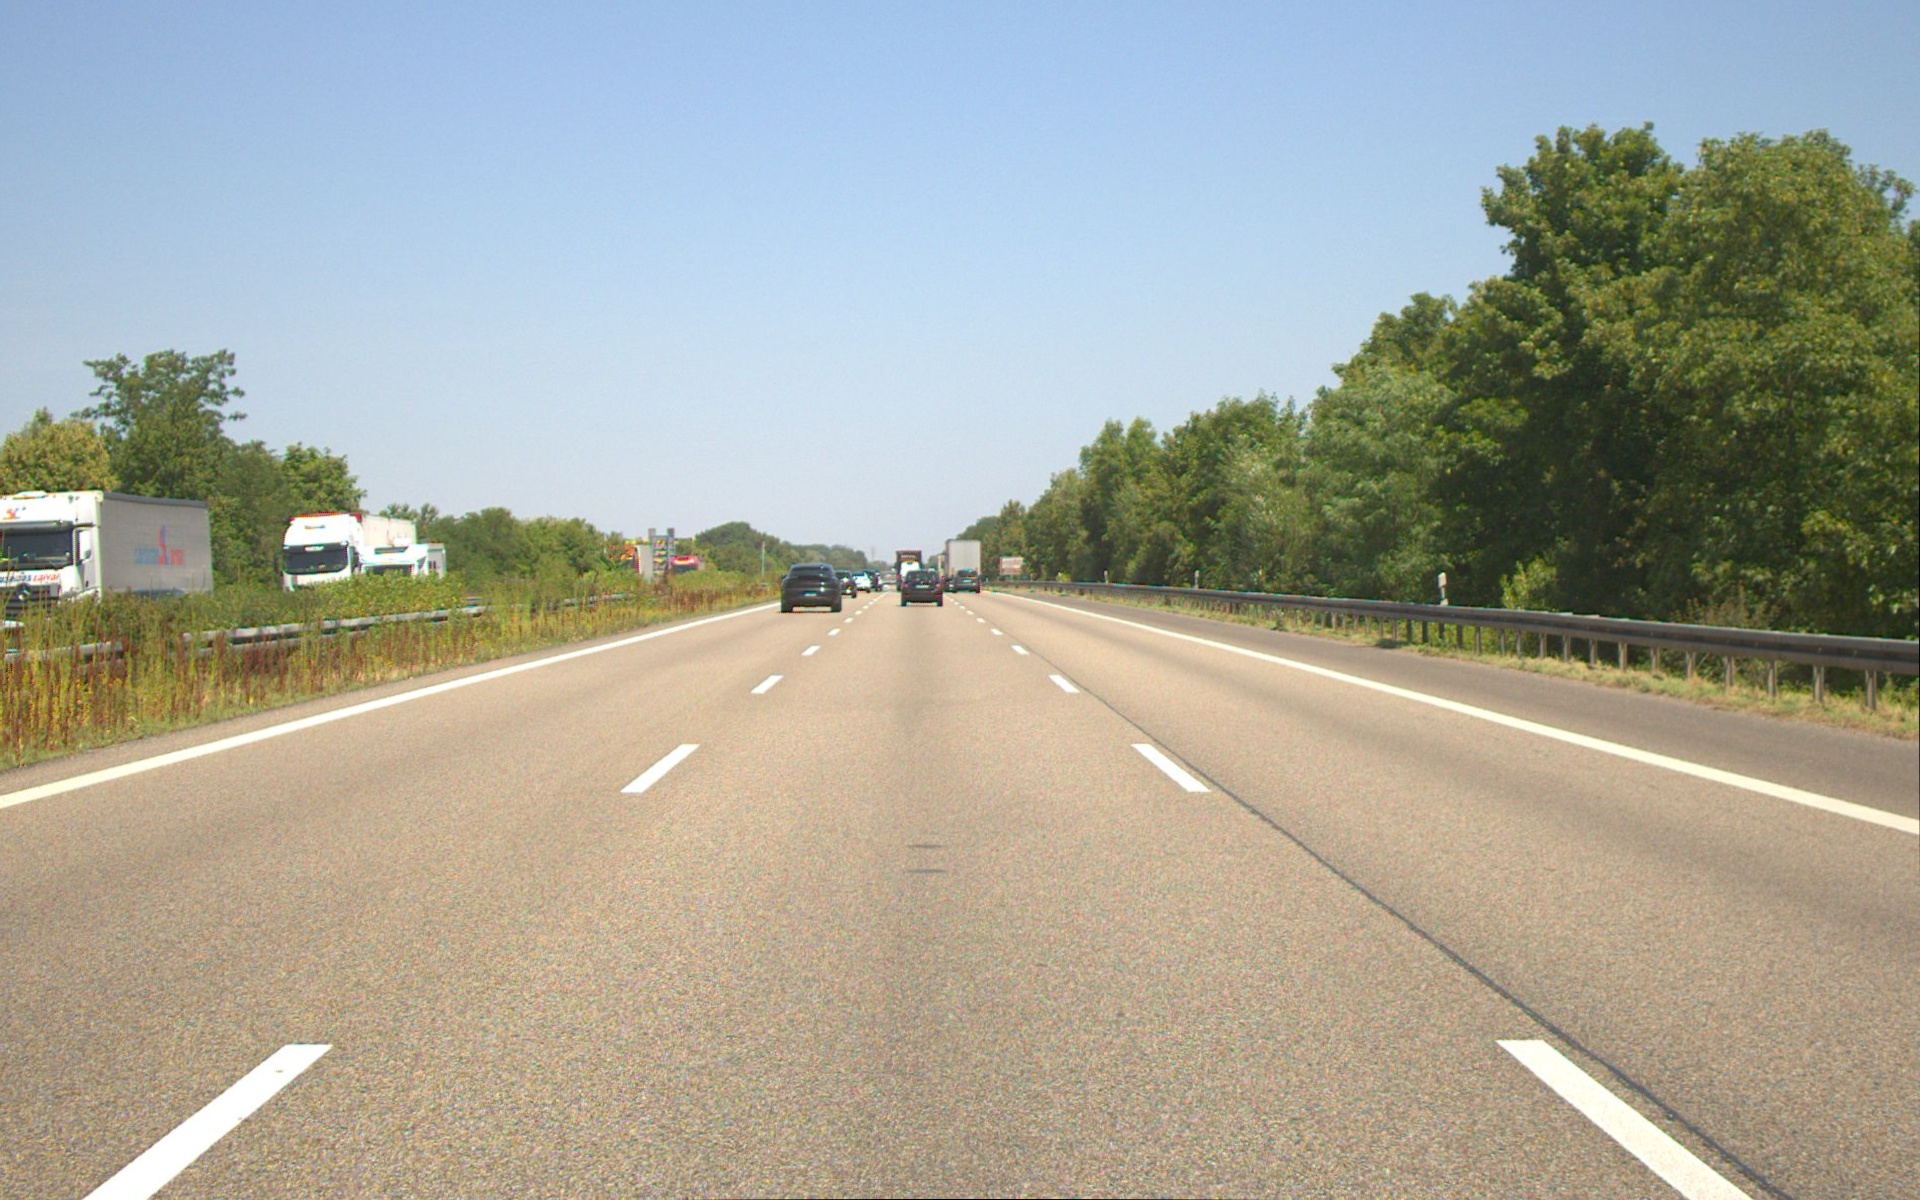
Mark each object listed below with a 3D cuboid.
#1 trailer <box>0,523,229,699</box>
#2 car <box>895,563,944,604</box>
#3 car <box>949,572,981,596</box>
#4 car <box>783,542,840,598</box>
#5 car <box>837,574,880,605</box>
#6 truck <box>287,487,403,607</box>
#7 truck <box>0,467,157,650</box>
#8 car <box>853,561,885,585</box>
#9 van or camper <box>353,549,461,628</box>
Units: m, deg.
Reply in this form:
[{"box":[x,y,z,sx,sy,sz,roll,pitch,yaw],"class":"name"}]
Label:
[{"box":[-22.924,0.213,94.016,3.166,4.462,12.953,0,1,0],"class":"trailer"},{"box":[-1.602,-0.670,136.957,1.903,1.578,4.304,-1,0,0],"class":"car"},{"box":[0.317,-1.110,234.663,2.128,1.578,4.304,-1,0,0],"class":"car"},{"box":[-4.998,-1.036,116.400,1.880,1.786,4.001,-1,2,-2],"class":"car"},{"box":[-5.451,-0.577,185.000,2.128,1.640,4.304,-1,0,0],"class":"car"},{"box":[-22.253,-1.921,124.792,2.842,4.192,7.715,0,1,0],"class":"truck"},{"box":[-22.895,-1.049,87.264,3.217,4.424,7.871,0,1,0],"class":"truck"},{"box":[-6.380,-1.918,241.599,2.128,1.640,4.304,-1,0,0],"class":"car"},{"box":[-18.523,-0.405,115.600,2.465,2.568,7.411,0,1,0],"class":"van or camper"}]
